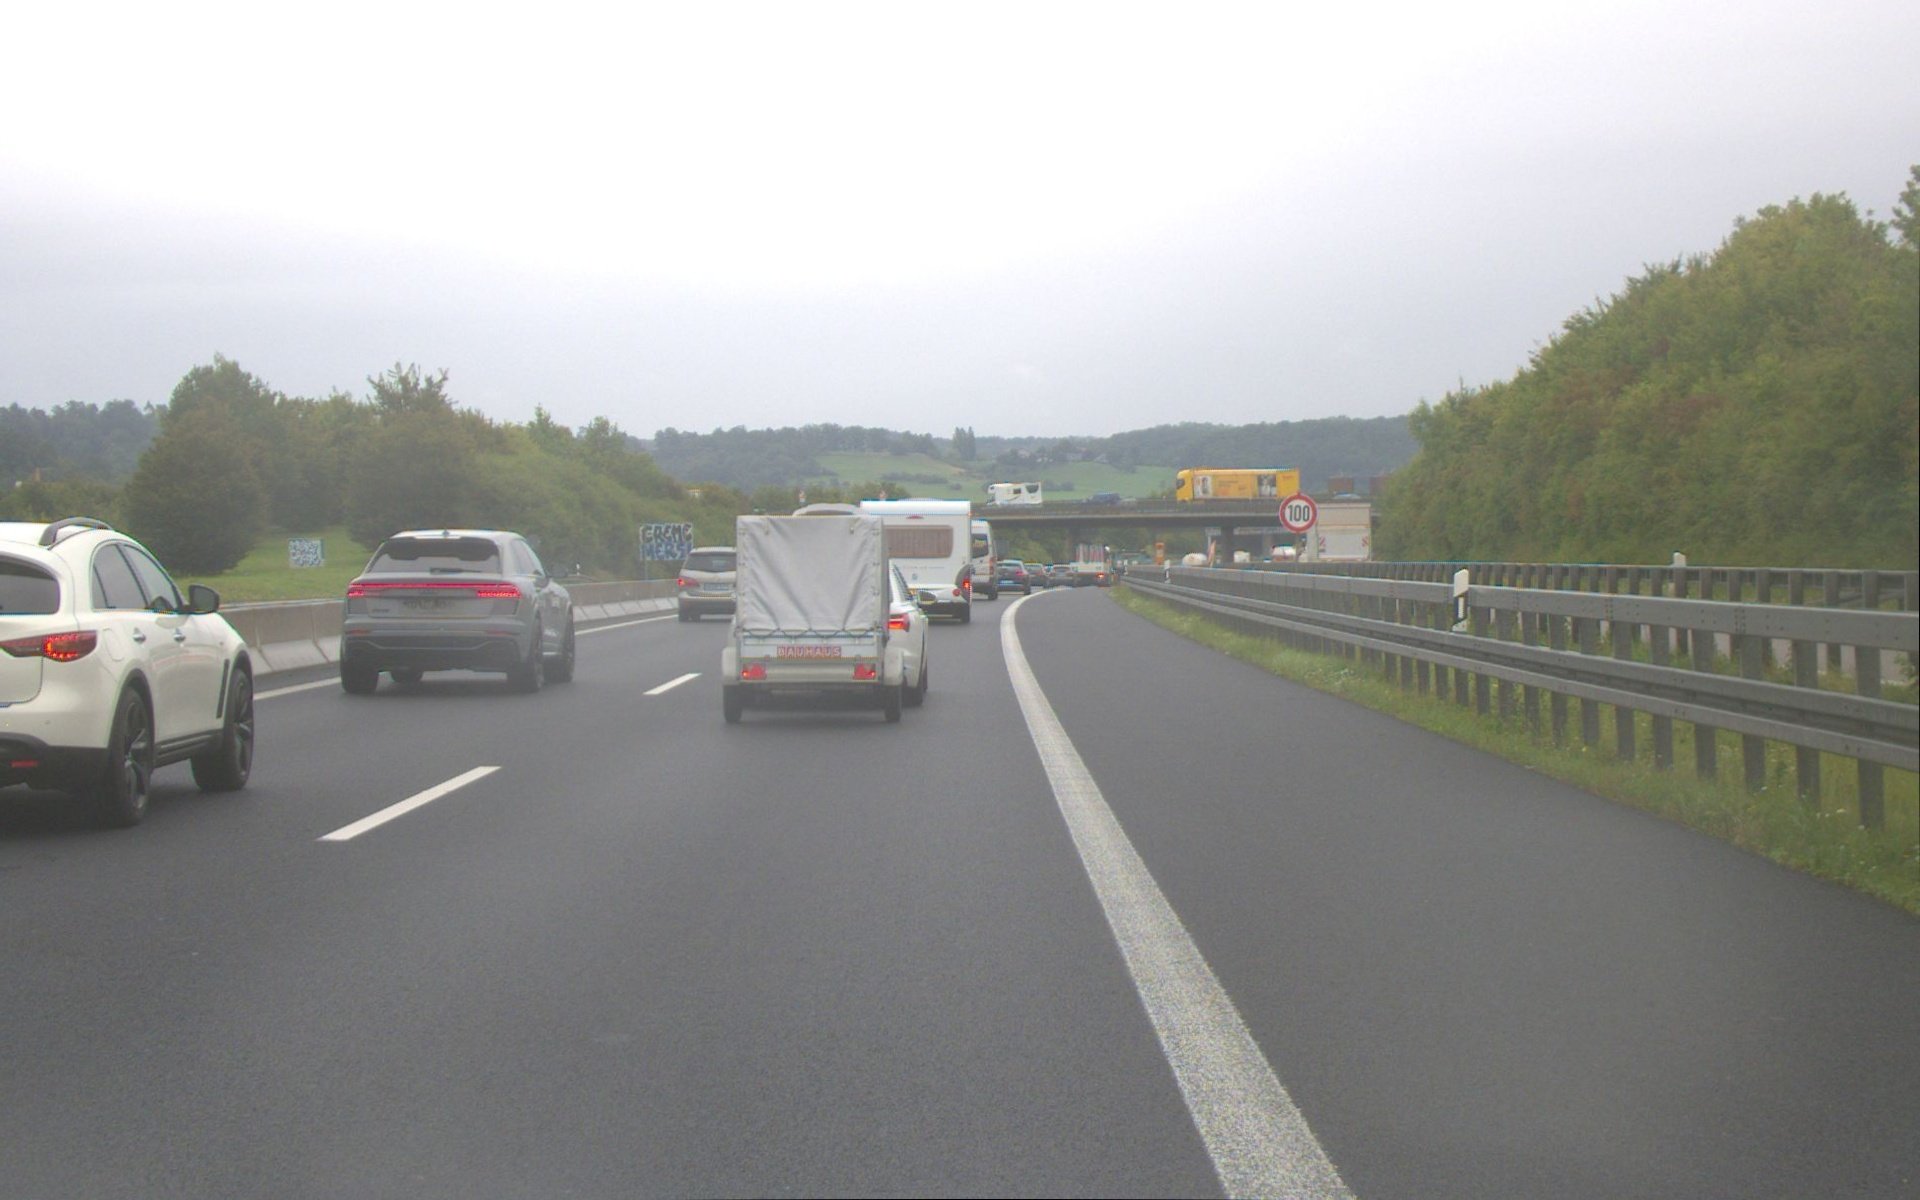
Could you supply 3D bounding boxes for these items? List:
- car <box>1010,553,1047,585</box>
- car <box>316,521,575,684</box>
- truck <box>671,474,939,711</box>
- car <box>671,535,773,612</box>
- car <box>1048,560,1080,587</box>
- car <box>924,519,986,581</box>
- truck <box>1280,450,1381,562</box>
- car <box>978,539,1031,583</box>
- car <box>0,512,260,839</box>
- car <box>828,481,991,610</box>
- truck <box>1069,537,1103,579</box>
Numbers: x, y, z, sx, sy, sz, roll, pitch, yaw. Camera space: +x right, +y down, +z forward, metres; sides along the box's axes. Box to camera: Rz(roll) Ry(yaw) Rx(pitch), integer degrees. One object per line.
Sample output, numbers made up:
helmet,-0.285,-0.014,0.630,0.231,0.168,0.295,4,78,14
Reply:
car,3.872,-1.759,193.922,1.994,1.744,4.000,1,1,3
car,-5.414,-0.005,36.765,2.174,1.626,4.501,0,1,-1
truck,-1.321,-0.126,32.386,2.019,1.979,7.213,0,1,1
car,-5.124,-0.600,74.472,1.900,1.607,4.017,0,1,0
car,7.045,-1.777,231.747,1.994,1.744,4.000,1,1,4
car,-0.191,-1.661,115.796,1.993,2.029,4.152,1,1,-1
truck,17.463,-4.405,162.553,4.094,5.086,10.463,0,1,3
car,1.835,-1.609,140.471,1.994,1.744,4.000,1,1,3
car,-5.357,0.351,19.405,1.976,1.633,4.501,0,1,-1
car,-0.996,-1.160,72.775,3.017,2.607,6.074,0,1,3
truck,9.359,-3.106,255.160,2.278,3.072,7.245,1,1,4
